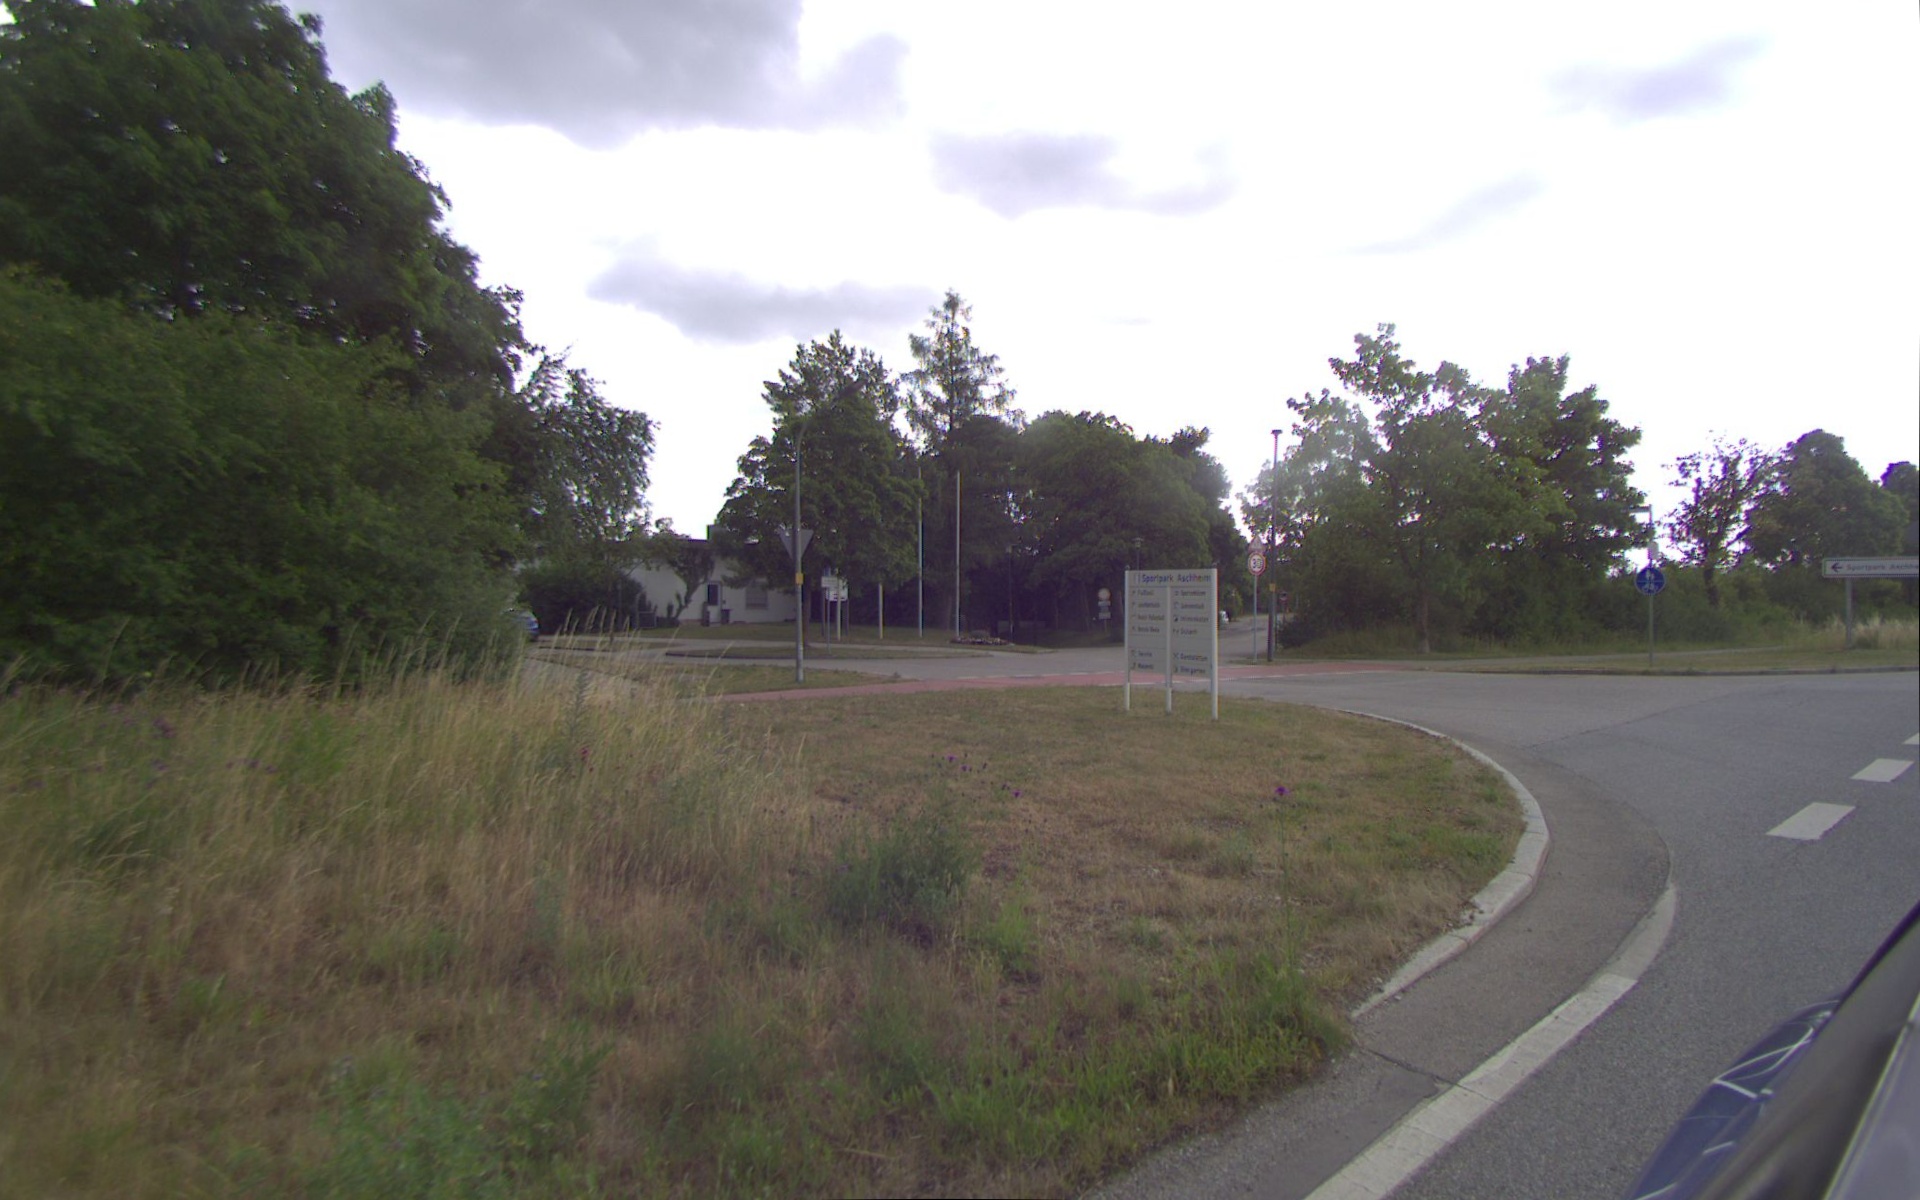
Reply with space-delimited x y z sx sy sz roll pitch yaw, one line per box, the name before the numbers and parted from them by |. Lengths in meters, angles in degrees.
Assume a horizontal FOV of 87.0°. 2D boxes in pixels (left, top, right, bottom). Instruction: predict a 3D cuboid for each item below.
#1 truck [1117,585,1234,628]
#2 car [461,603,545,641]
truck | 16.377 0.445 76.954 8.279 3.149 3.049 0 0 24
car | -19.300 0.904 42.696 3.689 1.482 1.804 0 0 40
